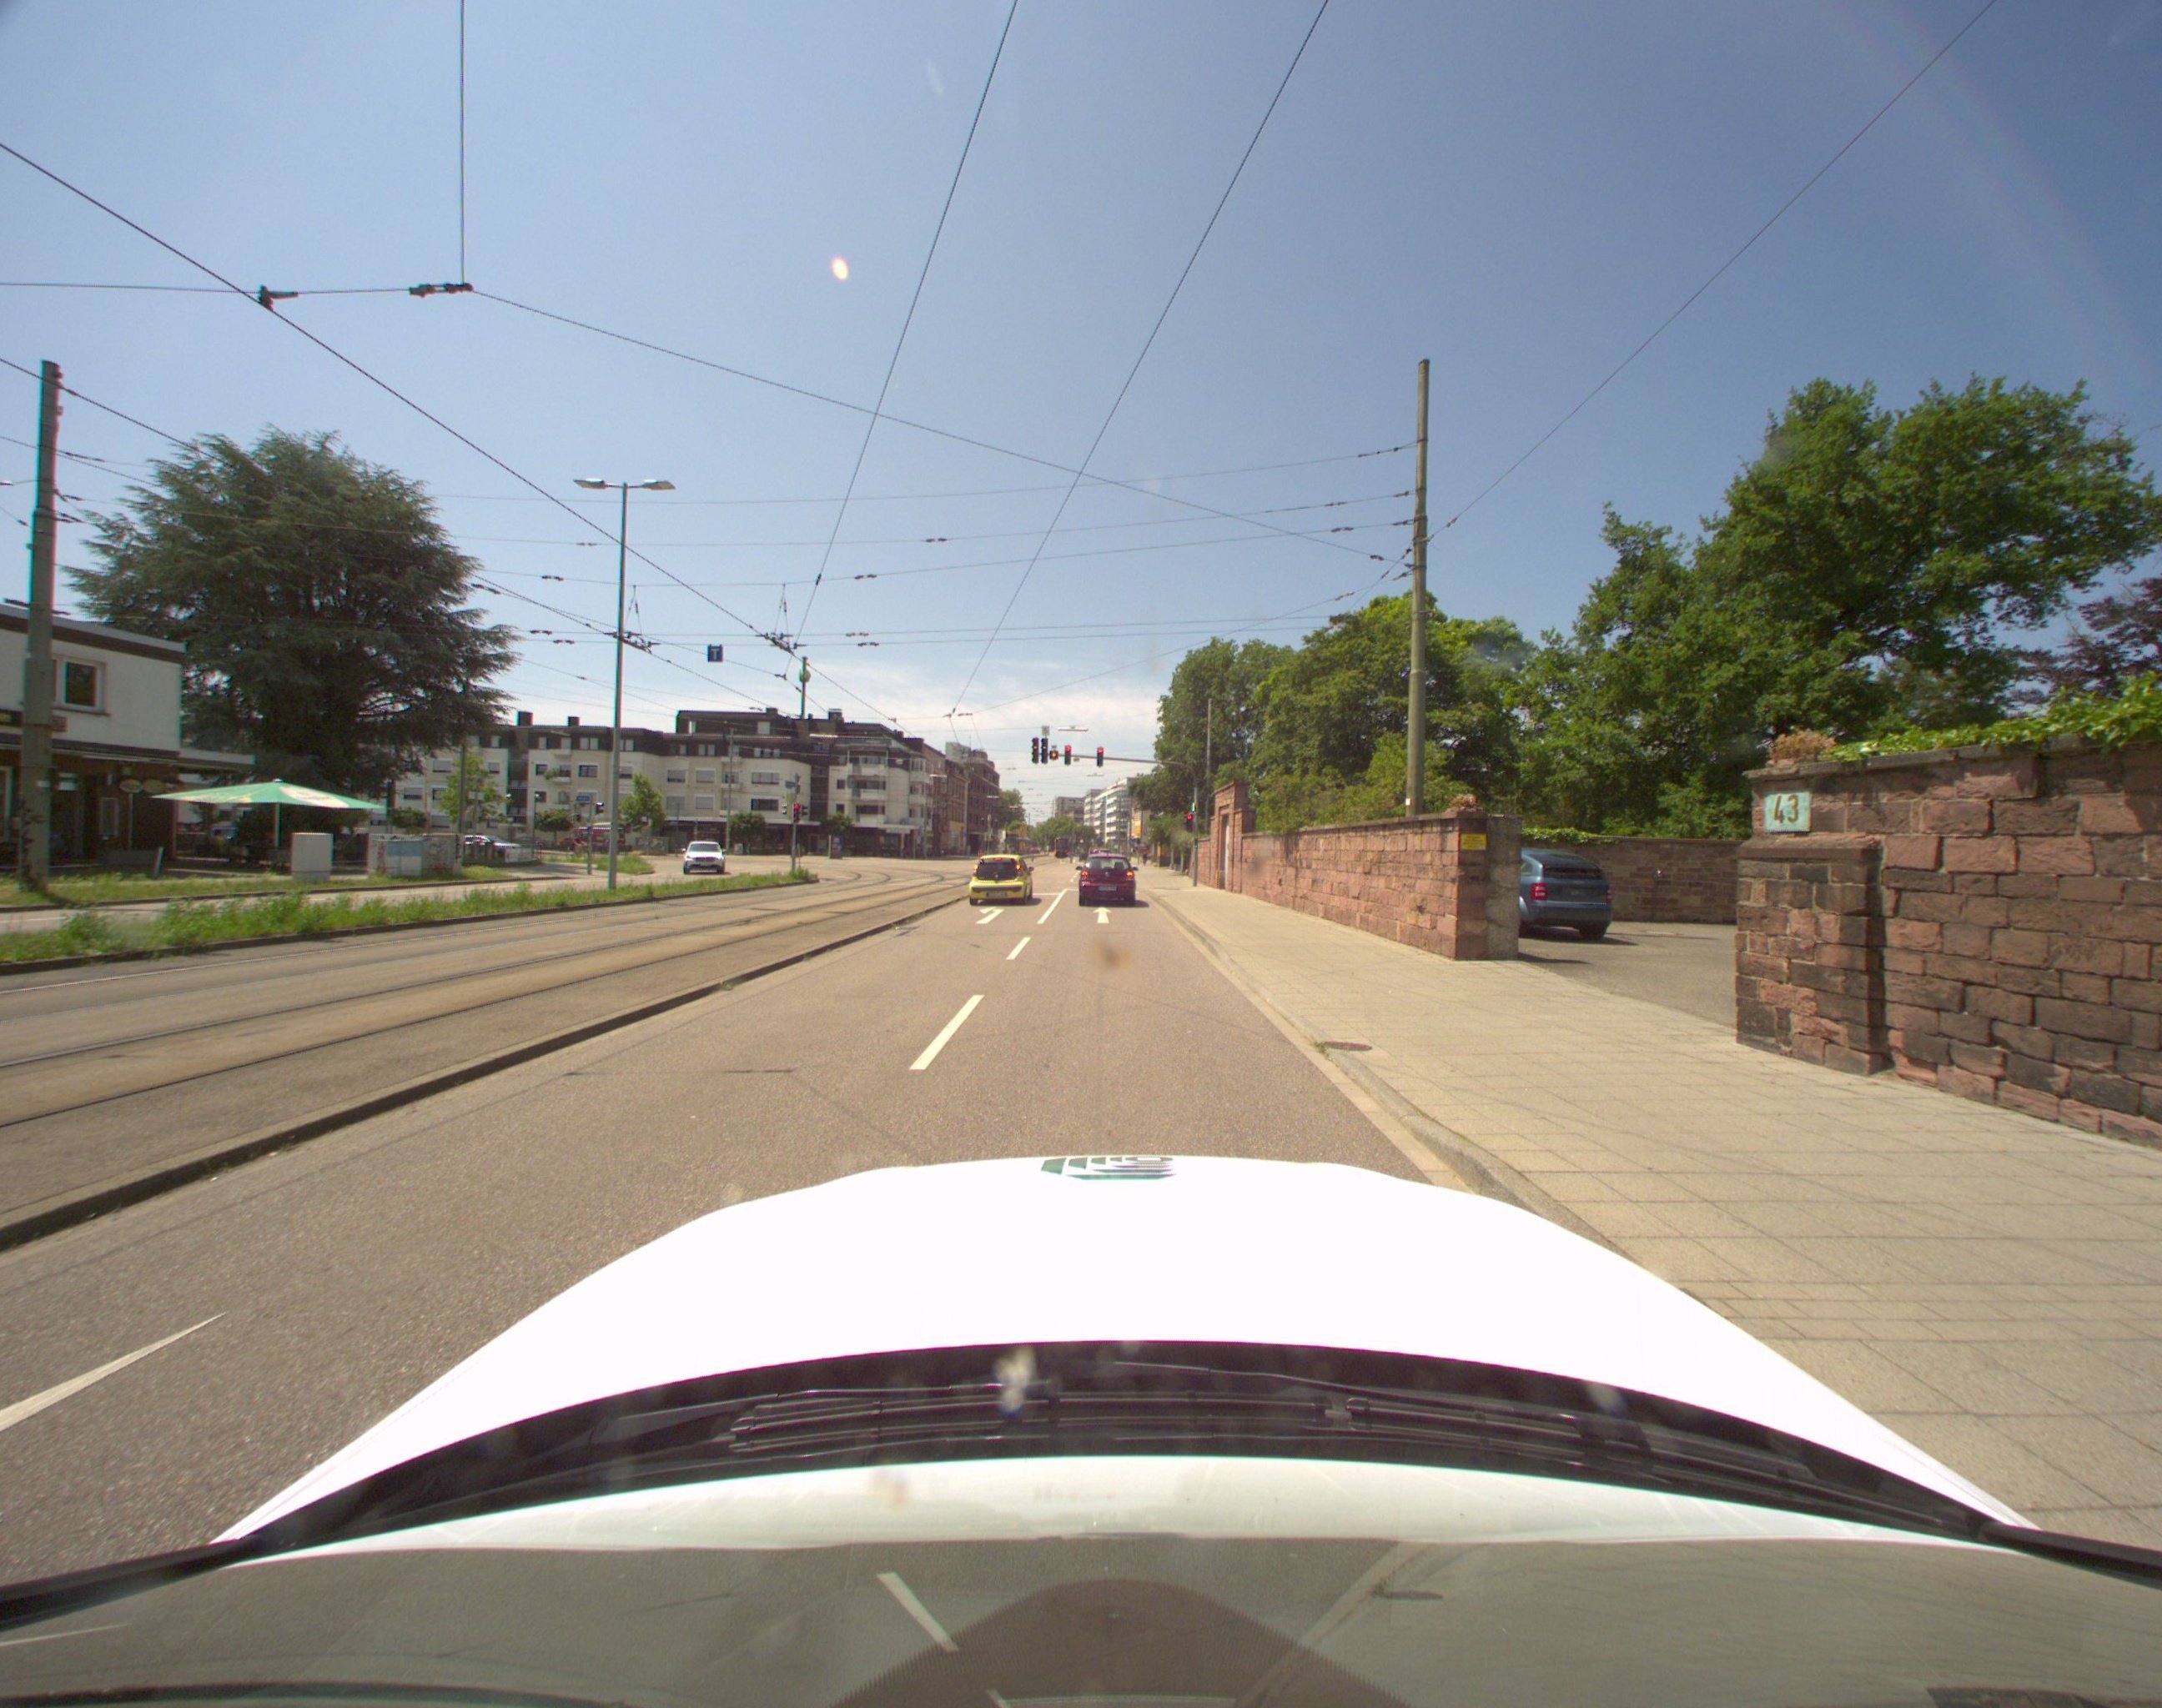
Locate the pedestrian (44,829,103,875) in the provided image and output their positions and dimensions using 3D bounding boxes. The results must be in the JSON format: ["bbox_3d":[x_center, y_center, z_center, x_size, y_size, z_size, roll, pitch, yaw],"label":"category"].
[{"bbox_3d":[-28.398,-0.060,22.960,0.587,1.268,0.842,0,-1,2],"label":"pedestrian"}]

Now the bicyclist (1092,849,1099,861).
[{"bbox_3d":[1.662,0.121,90.829,0.764,1.406,0.506,0,-1,-3],"label":"bicyclist"}]

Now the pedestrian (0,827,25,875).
[{"bbox_3d":[-28.504,-0.078,21.318,0.587,1.268,0.842,0,-1,2],"label":"pedestrian"}]

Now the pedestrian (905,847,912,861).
[{"bbox_3d":[-19.508,-0.006,92.083,0.479,1.541,0.541,0,-1,20],"label":"pedestrian"}]

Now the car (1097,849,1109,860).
[{"bbox_3d":[3.069,0.043,114.535,1.567,1.415,3.721,-1,0,1],"label":"car"}]

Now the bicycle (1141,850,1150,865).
[{"bbox_3d":[7.094,0.389,89.589,0.831,1.525,4.001,0,-1,2],"label":"bicycle"}]

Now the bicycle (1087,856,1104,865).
[{"bbox_3d":[1.666,0.695,90.826,1.861,1.008,0.578,0,-1,-3],"label":"bicycle"}]

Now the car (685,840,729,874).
[{"bbox_3d":[-18.713,0.183,40.882,1.730,1.610,4.536,0,-1,-22],"label":"car"}]

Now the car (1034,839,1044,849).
[{"bbox_3d":[-8.895,-2.184,173.936,1.728,2.013,4.002,1,0,2],"label":"car"}]

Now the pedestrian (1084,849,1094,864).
[{"bbox_3d":[0.918,0.299,92.799,0.979,1.661,0.918,1,0,-3],"label":"pedestrian"}]

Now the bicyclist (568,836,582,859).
[{"bbox_3d":[-34.155,-0.445,54.977,0.752,1.501,0.479,0,-1,-20],"label":"bicyclist"}]

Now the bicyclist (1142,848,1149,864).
[{"bbox_3d":[7.056,0.226,89.059,0.719,1.818,0.889,0,-1,1],"label":"bicyclist"}]

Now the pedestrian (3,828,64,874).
[{"bbox_3d":[-29.137,-0.074,22.659,0.587,1.268,0.842,0,-1,2],"label":"pedestrian"}]

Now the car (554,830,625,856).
[{"bbox_3d":[-44.825,-0.985,74.406,5.048,2.341,2.244,0,-1,0],"label":"car"}]

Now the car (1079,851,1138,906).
[{"bbox_3d":[0.801,0.660,24.306,1.604,1.463,4.086,-1,0,1],"label":"car"}]

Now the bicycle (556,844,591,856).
[{"bbox_3d":[-34.229,-0.290,54.947,1.987,0.783,0.463,0,-1,-20],"label":"bicycle"}]

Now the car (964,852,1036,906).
[{"bbox_3d":[-2.351,0.690,24.388,1.717,1.445,3.293,-1,1,1],"label":"car"}]

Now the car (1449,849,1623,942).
[{"bbox_3d":[8.144,0.681,14.841,1.476,1.482,2.944,2,0,-1],"label":"car"}]

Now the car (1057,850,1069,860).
[{"bbox_3d":[-3.022,0.124,136.448,1.931,1.641,4.001,0,-1,1],"label":"car"}]
